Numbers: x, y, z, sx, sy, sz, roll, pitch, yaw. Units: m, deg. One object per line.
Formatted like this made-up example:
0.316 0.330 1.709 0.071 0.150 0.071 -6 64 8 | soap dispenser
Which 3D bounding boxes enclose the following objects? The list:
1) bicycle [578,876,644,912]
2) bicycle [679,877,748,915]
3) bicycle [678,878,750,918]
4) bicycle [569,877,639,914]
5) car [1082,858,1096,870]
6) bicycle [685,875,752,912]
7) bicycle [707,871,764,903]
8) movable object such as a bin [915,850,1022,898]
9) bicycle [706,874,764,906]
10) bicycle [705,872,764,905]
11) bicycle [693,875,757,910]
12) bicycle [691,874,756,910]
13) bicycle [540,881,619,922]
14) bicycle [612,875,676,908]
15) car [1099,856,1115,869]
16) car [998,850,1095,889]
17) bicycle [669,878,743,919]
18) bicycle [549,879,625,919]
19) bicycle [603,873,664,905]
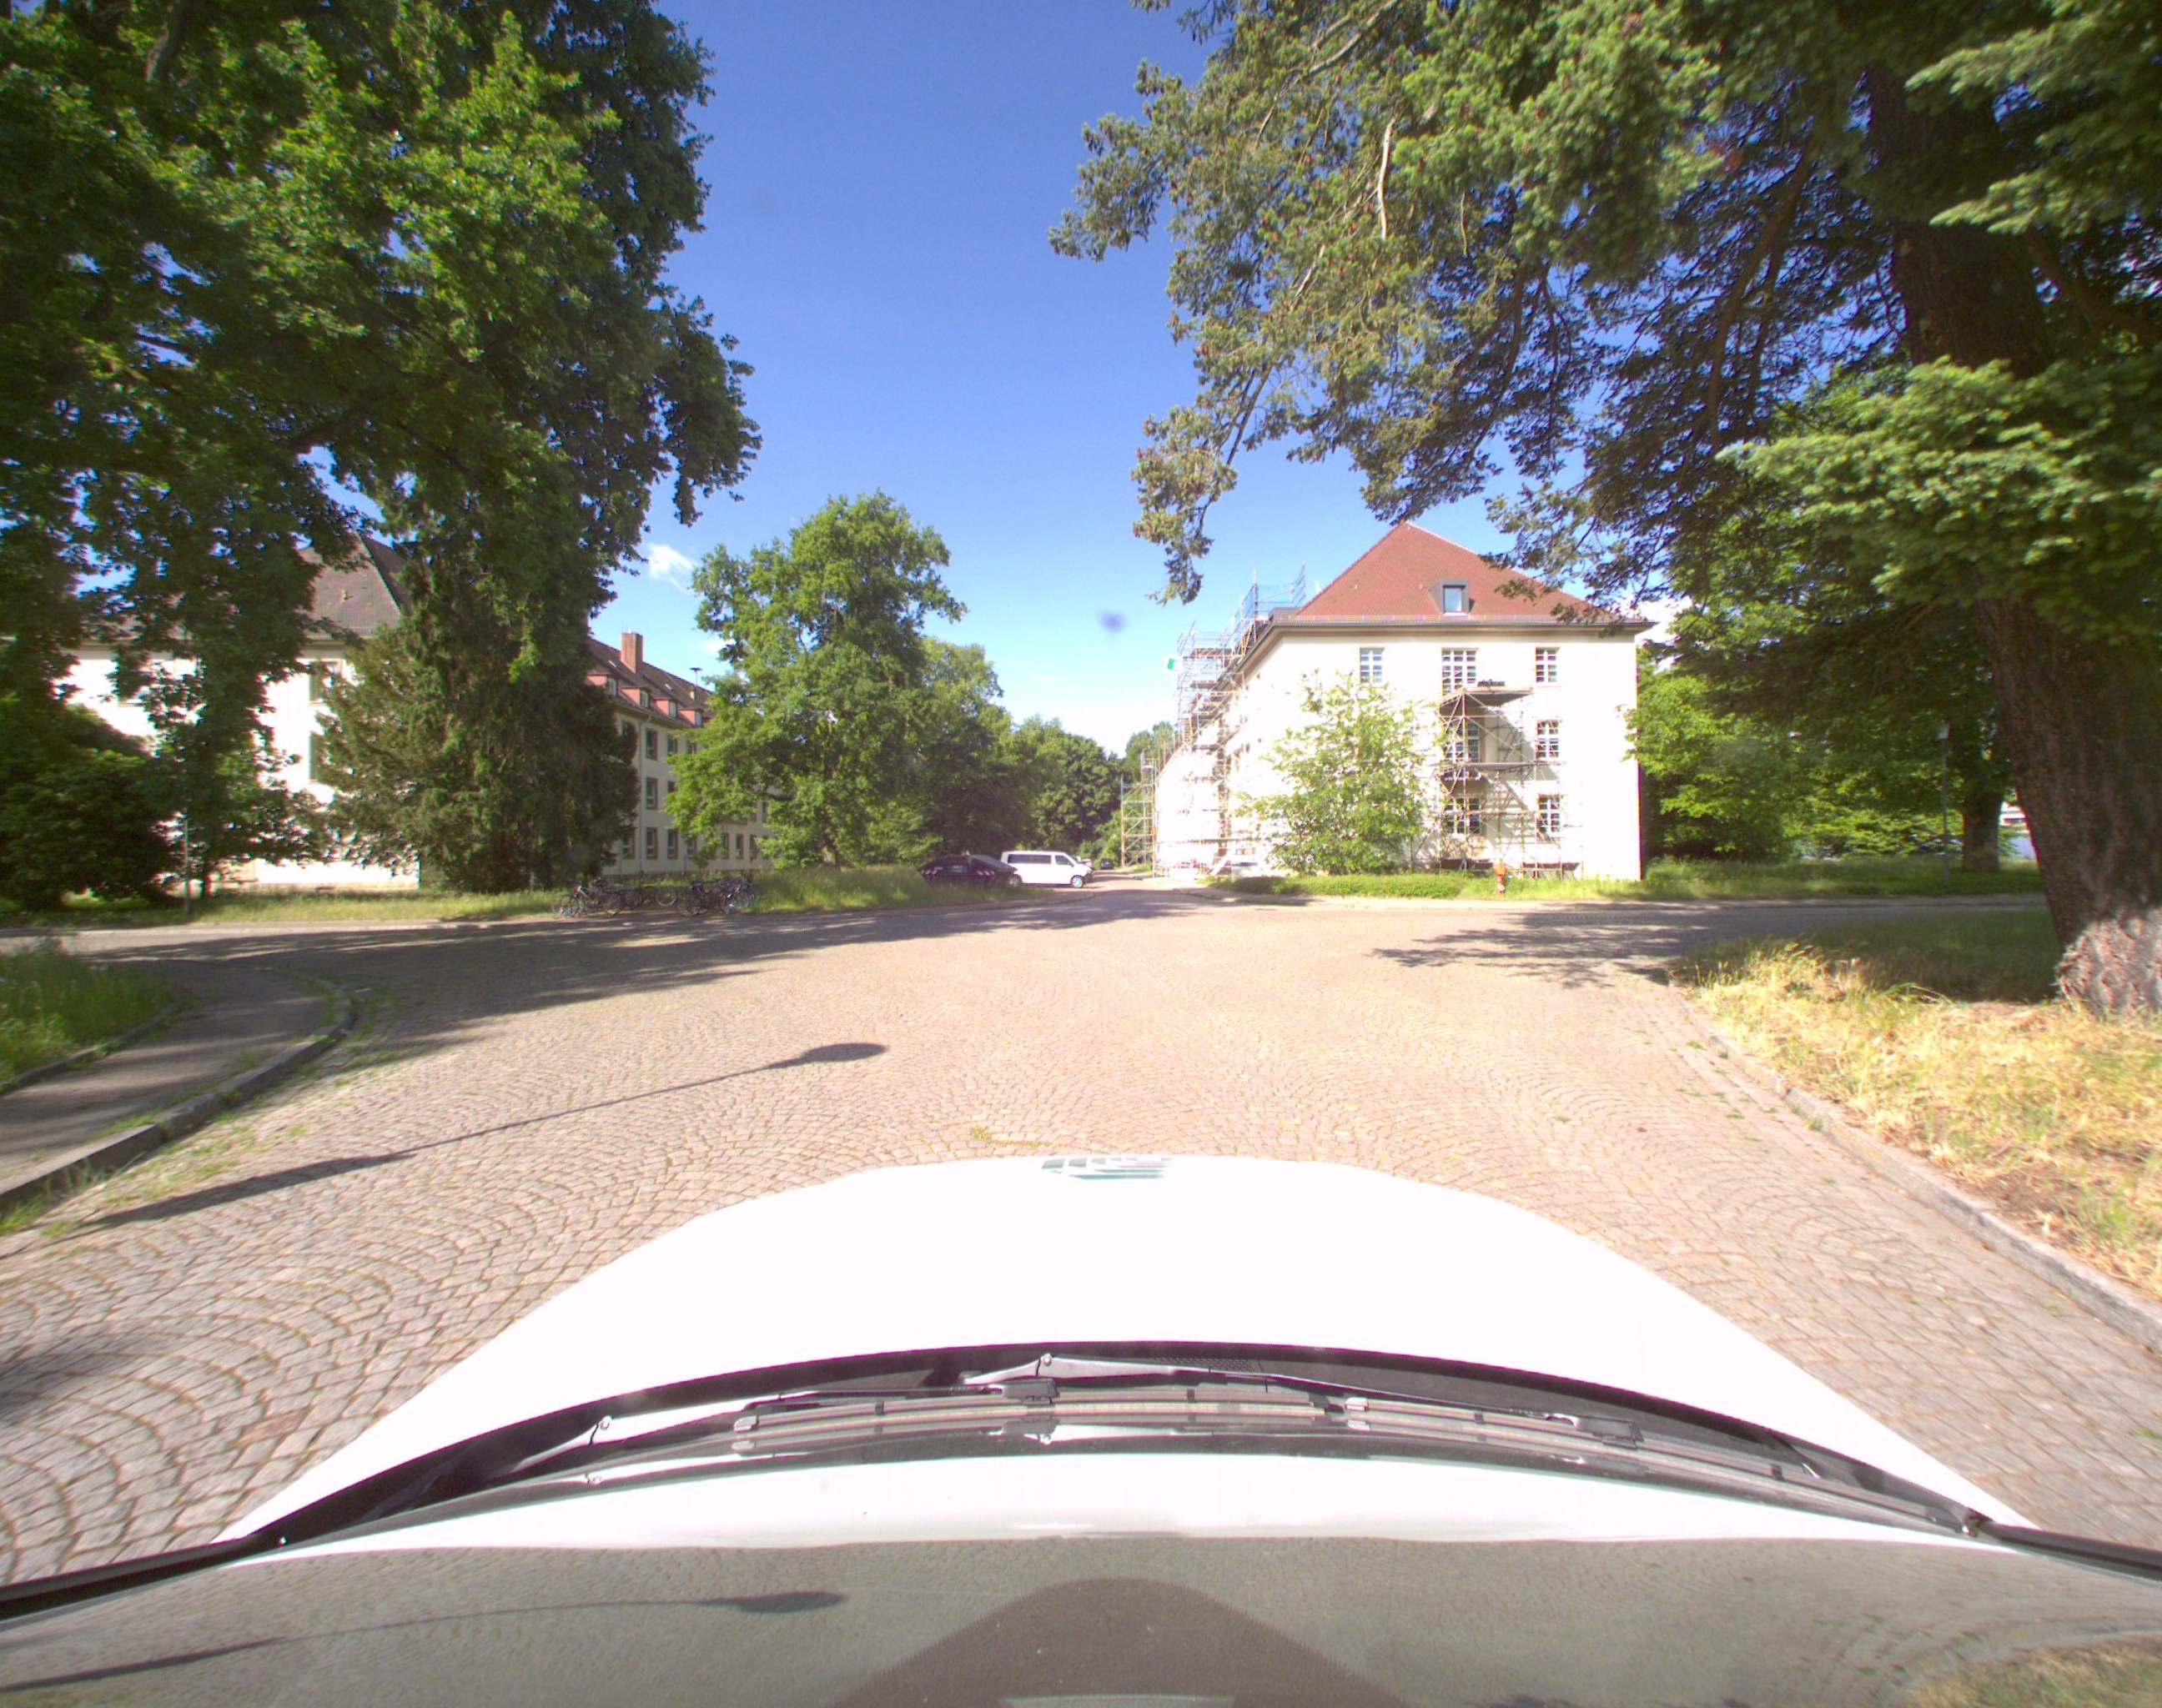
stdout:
-16.020 1.347 27.795 1.924 1.103 0.565 -1 1 -28 | bicycle
-11.570 1.304 25.717 1.921 1.058 0.472 -3 0 -23 | bicycle
-11.135 1.312 24.730 1.925 1.058 0.471 -3 0 -30 | bicycle
-15.494 1.339 26.501 1.924 1.103 0.565 -1 1 -28 | bicycle
1.118 1.294 110.736 1.806 1.579 4.133 -1 0 0 | car
-11.680 1.270 26.279 1.921 1.058 0.472 -3 0 -23 | bicycle
-12.942 1.214 30.537 1.920 1.058 0.472 -3 0 -21 | bicycle
-4.335 0.782 31.587 3.537 1.744 2.034 -2 -1 18 | movable object such as a bin
-12.776 1.309 30.101 1.920 1.058 0.472 -3 0 -21 | bicycle
-12.598 1.234 29.637 1.920 1.058 0.472 -3 0 -21 | bicycle
-12.166 1.306 27.876 1.920 1.058 0.472 -3 0 -21 | bicycle
-11.862 1.256 27.067 1.921 1.058 0.472 -3 0 -23 | bicycle
-14.963 1.400 24.352 1.922 1.103 0.566 -1 1 -25 | bicycle
-15.481 1.313 28.885 1.919 1.103 0.567 -1 1 -19 | bicycle
3.514 1.191 111.062 1.965 1.668 4.085 -1 0 0 | car
-1.858 0.828 44.707 5.219 2.016 1.949 -1 -1 -1 | car
-11.123 1.293 24.175 1.925 1.058 0.471 -3 0 -30 | bicycle
-15.067 1.361 24.895 1.922 1.103 0.566 -1 1 -25 | bicycle
-16.653 1.306 30.333 1.922 1.103 0.566 -1 1 -24 | bicycle
